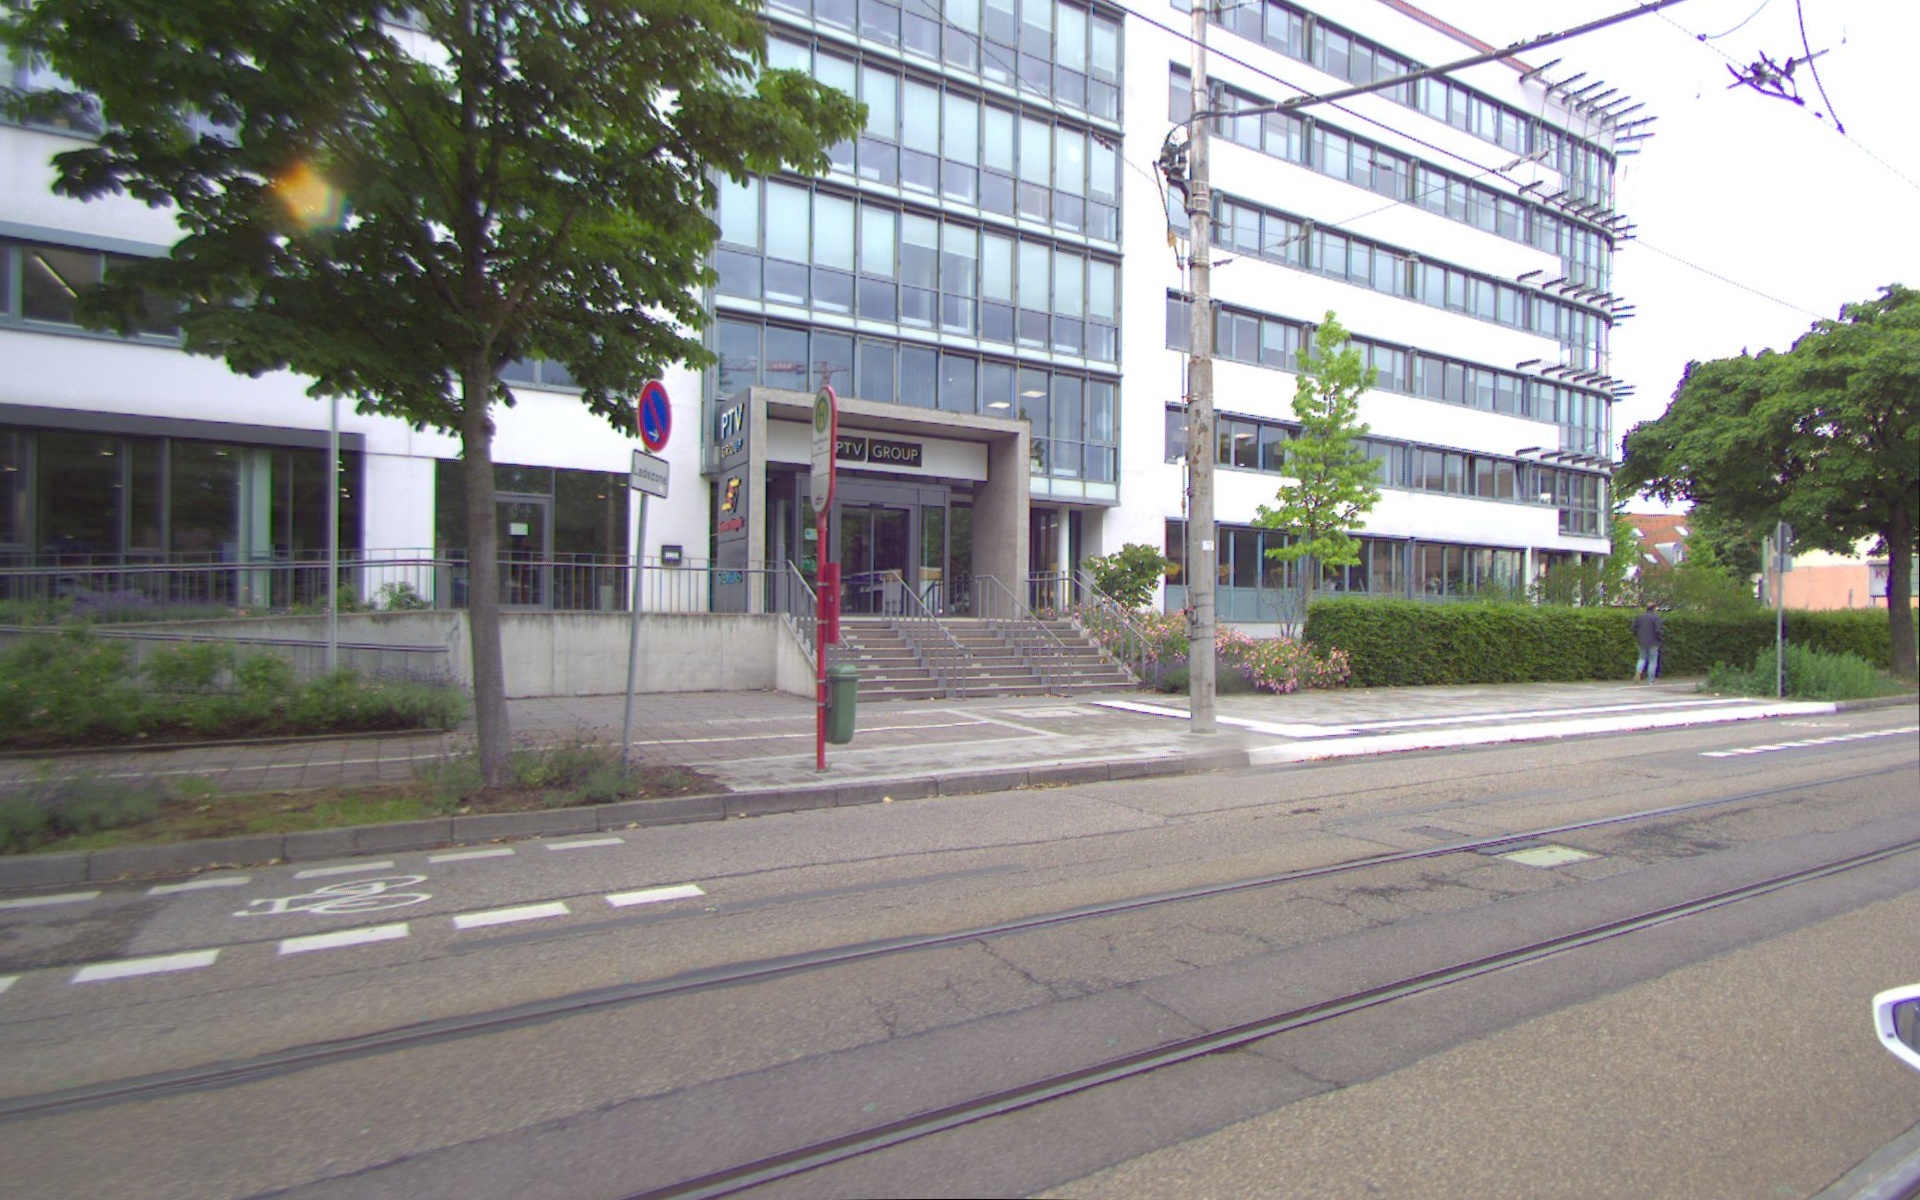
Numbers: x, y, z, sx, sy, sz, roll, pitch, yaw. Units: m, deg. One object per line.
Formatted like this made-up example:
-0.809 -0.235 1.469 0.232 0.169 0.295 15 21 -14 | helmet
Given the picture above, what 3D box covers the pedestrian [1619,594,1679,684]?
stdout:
16.024 0.900 23.370 0.977 2.040 0.708 1 0 -23 | pedestrian
